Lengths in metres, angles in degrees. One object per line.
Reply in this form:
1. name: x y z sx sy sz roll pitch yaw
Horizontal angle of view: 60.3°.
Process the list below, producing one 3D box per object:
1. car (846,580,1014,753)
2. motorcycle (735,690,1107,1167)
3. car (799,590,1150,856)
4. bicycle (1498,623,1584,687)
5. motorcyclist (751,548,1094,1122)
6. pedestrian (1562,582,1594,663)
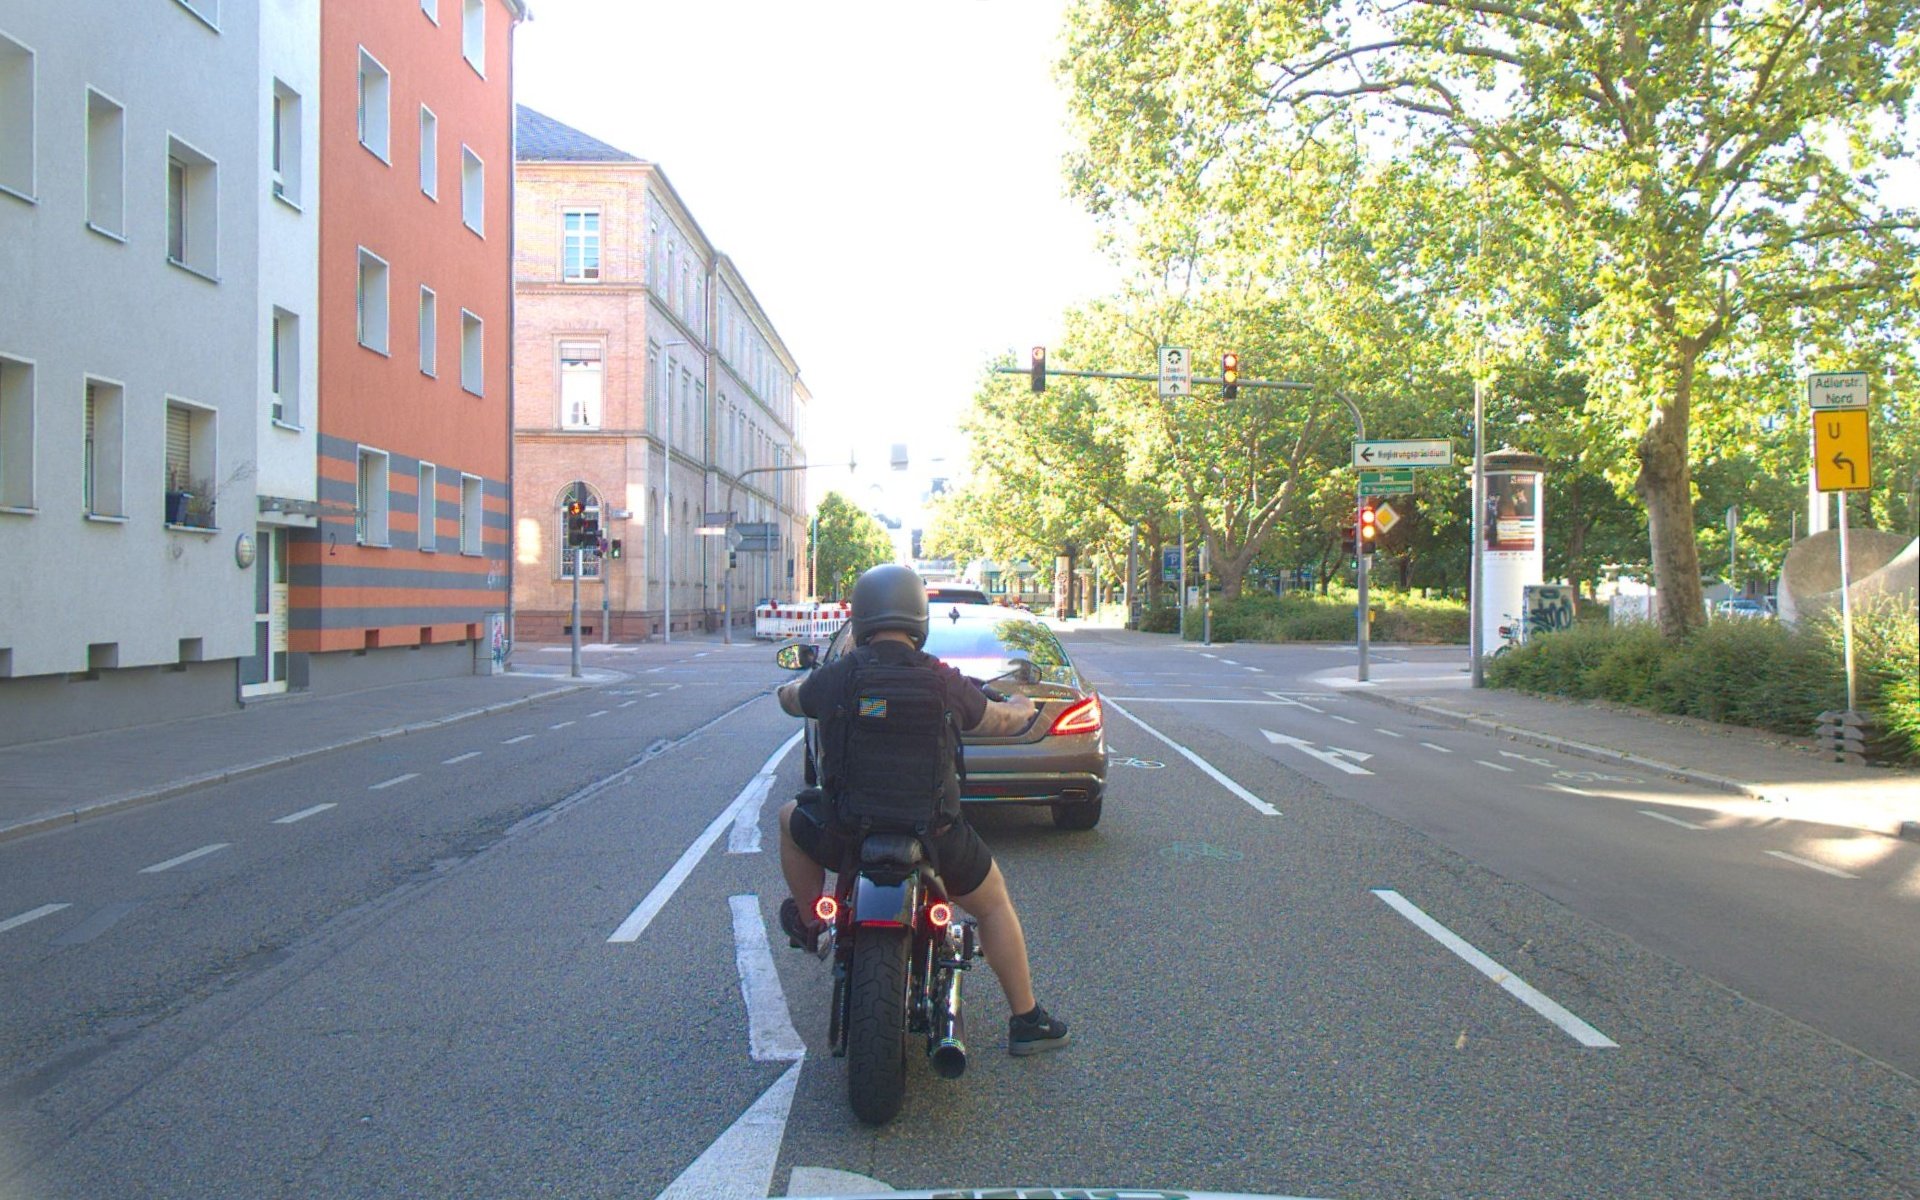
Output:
1. car: -0.337 0.617 17.753 1.580 1.636 4.327 0 0 -2
2. motorcycle: -0.119 0.925 5.550 0.969 1.097 2.451 0 0 -1
3. car: -0.115 0.683 11.590 1.909 1.498 4.355 0 0 -7
4. bicycle: 9.752 0.920 27.783 1.324 1.041 0.363 0 0 0
5. motorcyclist: -0.115 0.662 5.396 0.969 1.625 1.403 0 0 -1
6. pedestrian: 14.524 0.520 38.886 0.540 1.881 0.593 0 0 0
